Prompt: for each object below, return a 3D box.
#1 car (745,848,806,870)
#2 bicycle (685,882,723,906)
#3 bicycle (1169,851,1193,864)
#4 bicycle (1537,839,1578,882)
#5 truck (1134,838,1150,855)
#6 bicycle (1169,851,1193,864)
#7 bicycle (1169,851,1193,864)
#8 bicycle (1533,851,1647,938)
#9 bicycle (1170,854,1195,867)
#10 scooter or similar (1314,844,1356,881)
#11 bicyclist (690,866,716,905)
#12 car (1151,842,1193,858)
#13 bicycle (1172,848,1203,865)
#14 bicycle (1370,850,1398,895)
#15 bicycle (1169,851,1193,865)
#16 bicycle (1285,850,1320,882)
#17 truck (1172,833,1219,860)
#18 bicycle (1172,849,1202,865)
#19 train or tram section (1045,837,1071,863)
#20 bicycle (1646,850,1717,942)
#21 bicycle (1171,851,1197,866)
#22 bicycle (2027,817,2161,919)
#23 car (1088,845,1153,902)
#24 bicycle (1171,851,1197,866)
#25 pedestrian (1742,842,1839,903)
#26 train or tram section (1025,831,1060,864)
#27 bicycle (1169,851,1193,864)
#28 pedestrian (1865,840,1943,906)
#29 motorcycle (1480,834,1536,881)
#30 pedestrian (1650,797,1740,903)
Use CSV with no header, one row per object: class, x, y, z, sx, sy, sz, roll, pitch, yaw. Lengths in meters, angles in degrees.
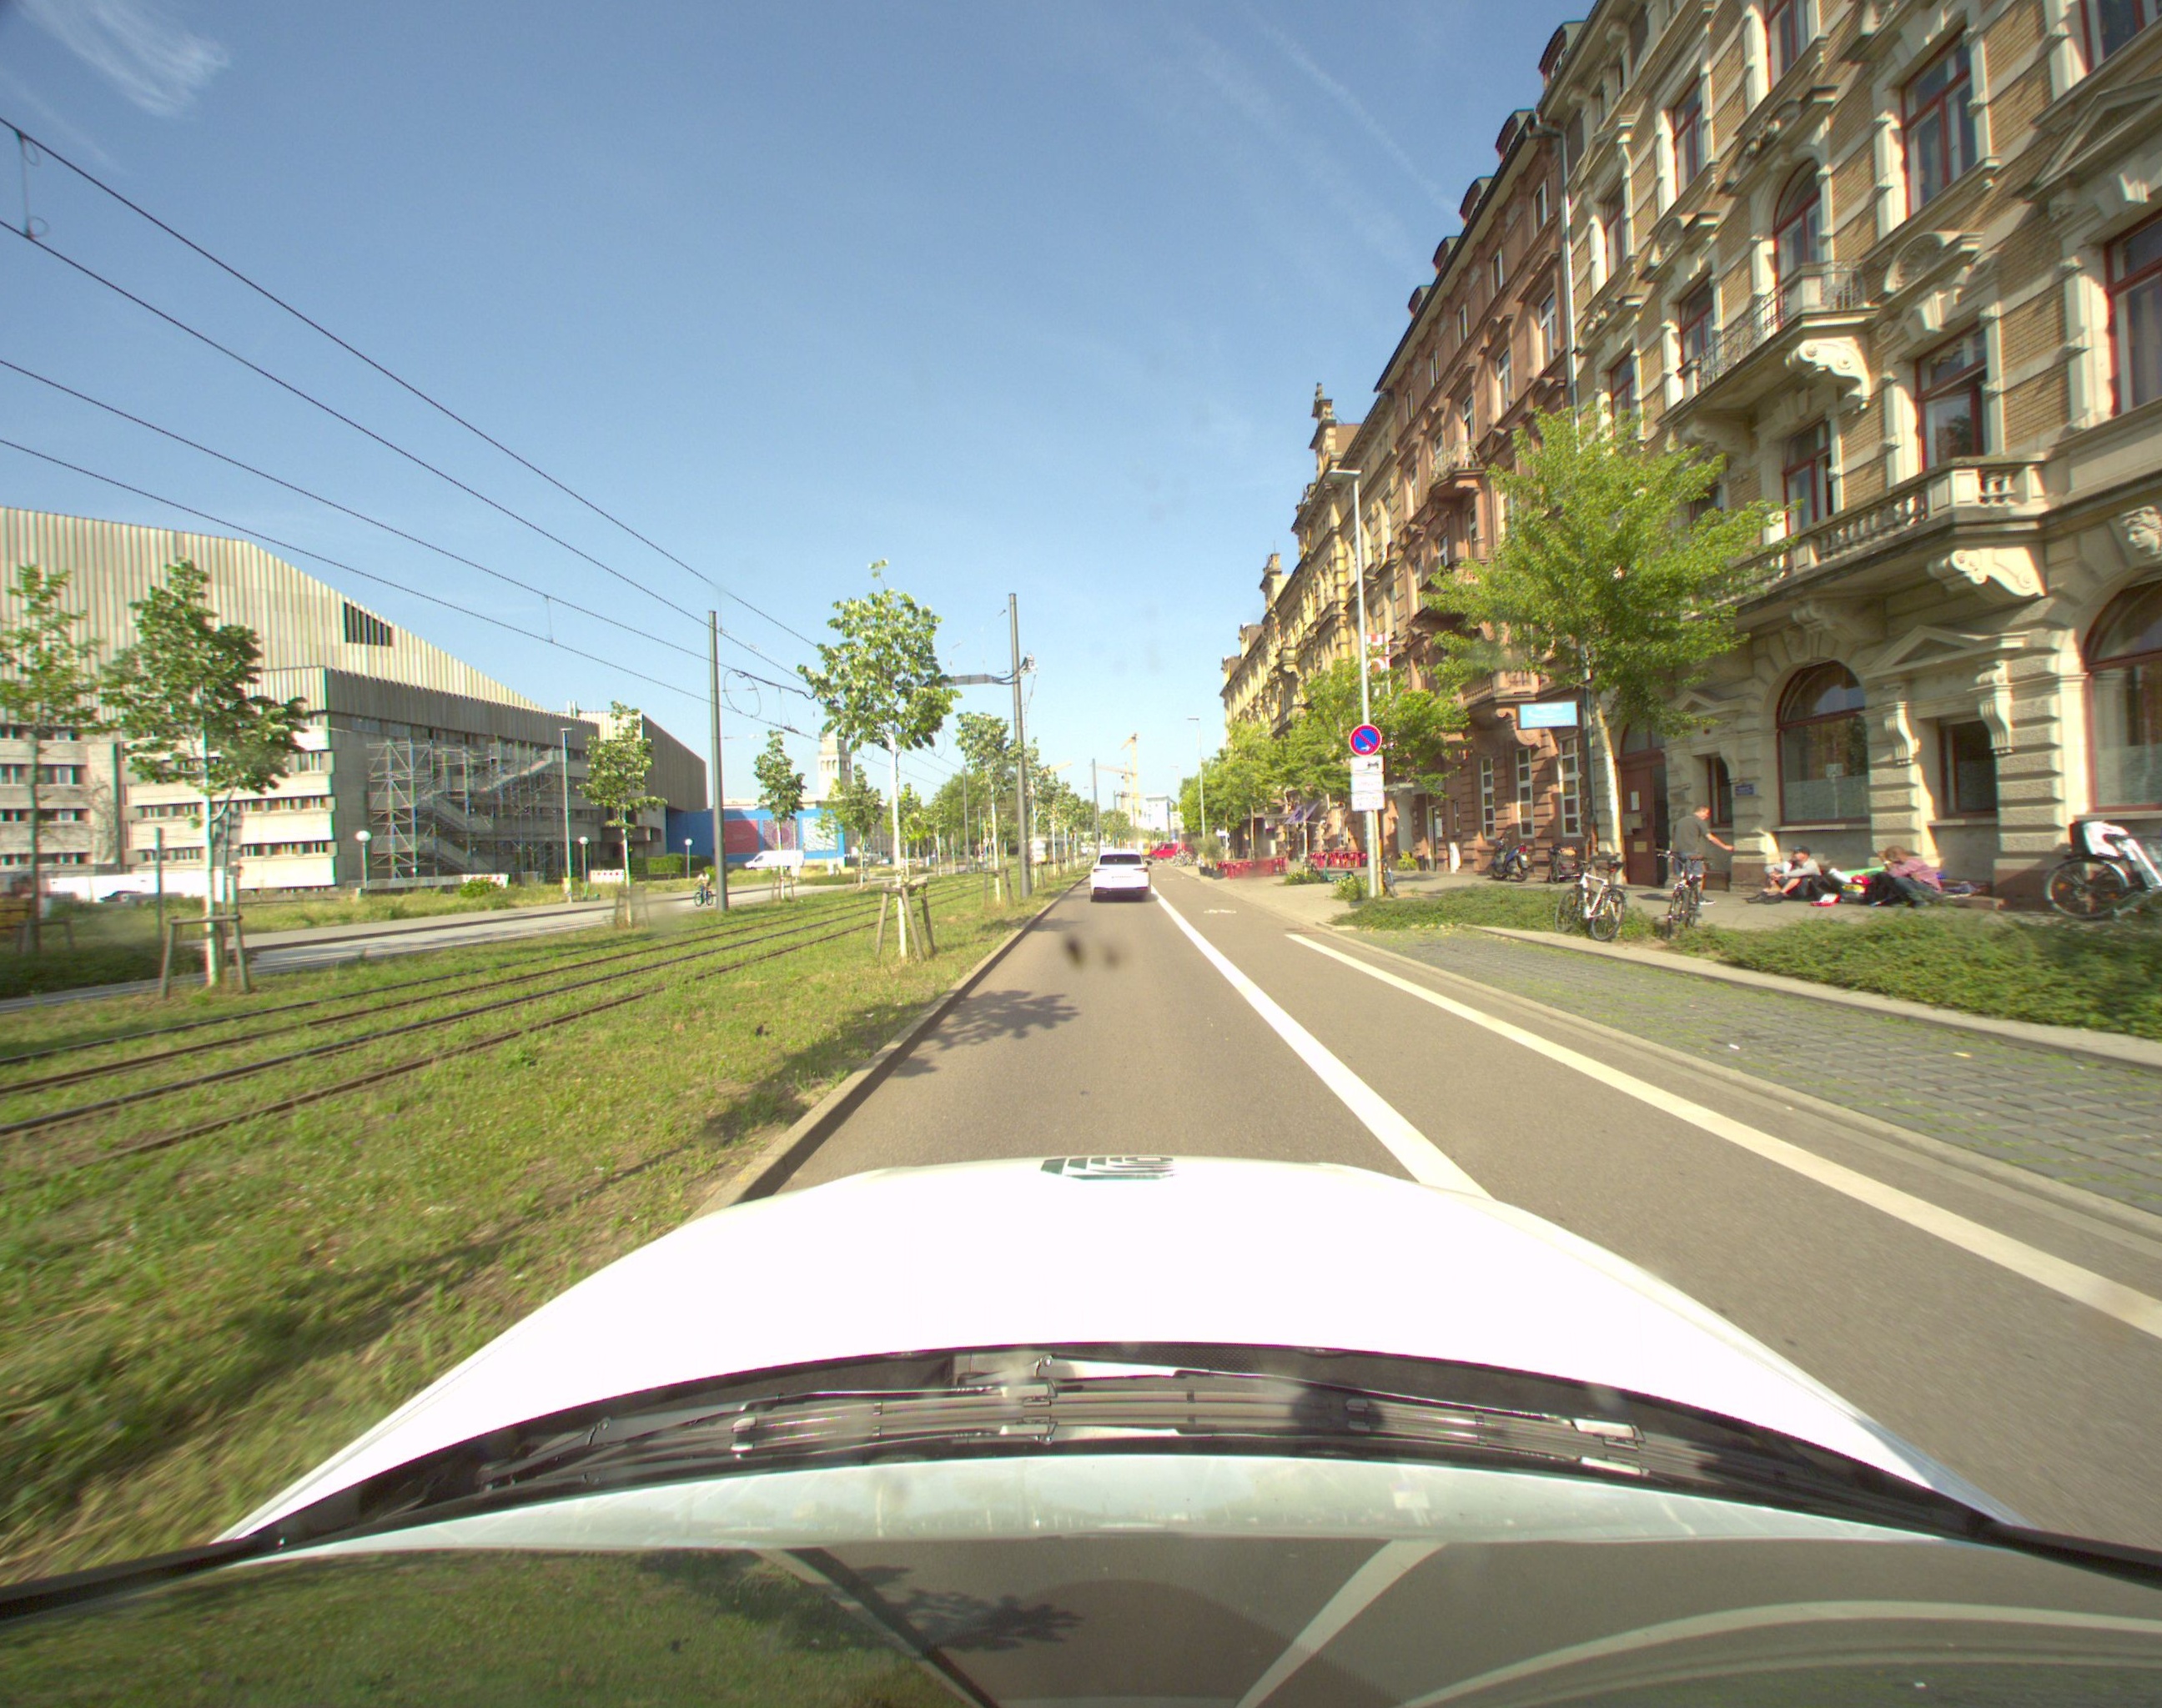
car,-37.070,0.635,99.074,6.895,2.638,2.498,0,0,-19
bicycle,-17.298,1.827,37.456,0.659,0.961,2.079,-4,0,2
bicycle,8.322,0.289,67.900,1.924,0.945,0.441,-5,0,6
bicycle,11.799,0.155,20.201,0.394,1.018,1.258,-2,0,7
truck,9.016,-1.145,120.332,2.203,2.318,5.897,-2,0,4
bicycle,8.369,0.290,68.282,1.924,0.945,0.429,-5,0,6
bicycle,8.269,0.286,67.423,1.924,0.945,0.441,-5,0,6
bicycle,7.077,0.521,11.430,0.490,1.093,1.828,-2,0,2
bicycle,8.115,0.492,65.325,1.926,0.874,0.441,-5,0,3
scooter or similar,8.781,0.291,28.190,1.250,1.157,0.340,-5,-1,6
bicyclist,-17.334,1.438,37.386,0.644,1.736,0.919,-4,-1,2
car,10.281,-0.442,92.273,4.313,1.684,2.012,-2,0,43
bicycle,8.105,0.214,62.180,2.229,1.104,0.589,-5,0,3
bicycle,7.896,0.453,21.236,0.501,1.060,1.721,-4,1,17
bicycle,8.222,0.301,66.977,1.924,1.013,0.441,-5,0,6
bicycle,7.996,0.423,29.492,0.594,1.122,1.923,-2,0,-4
truck,13.598,-0.882,97.058,2.518,3.011,6.914,-2,0,-19
bicycle,8.154,0.216,62.734,2.229,1.104,0.519,-5,0,3
train or tram section,-3.383,-0.591,121.966,2.887,3.586,12.232,-3,0,3
bicycle,7.785,0.506,10.524,0.449,1.082,1.889,-4,-3,44
bicycle,8.118,0.334,64.053,1.947,0.986,0.471,-5,0,3
bicycle,11.677,0.143,9.080,0.450,1.083,1.444,-2,0,-7
car,1.231,0.569,25.694,1.810,1.590,4.409,-2,0,2
bicycle,8.071,0.331,63.574,1.926,0.986,0.471,-5,0,3
pedestrian,11.323,0.289,13.022,0.875,0.876,0.711,-5,0,-1
train or tram section,-4.496,-0.717,96.798,2.887,3.586,12.484,-3,0,2
bicycle,8.434,0.293,68.723,1.924,0.945,0.429,-5,0,6
pedestrian,11.436,0.261,11.325,0.569,0.855,0.457,-5,0,-4
motorcycle,11.449,0.084,21.906,0.461,1.175,1.946,-5,0,3
pedestrian,10.426,-0.067,13.854,0.821,1.696,0.792,-4,0,-2
